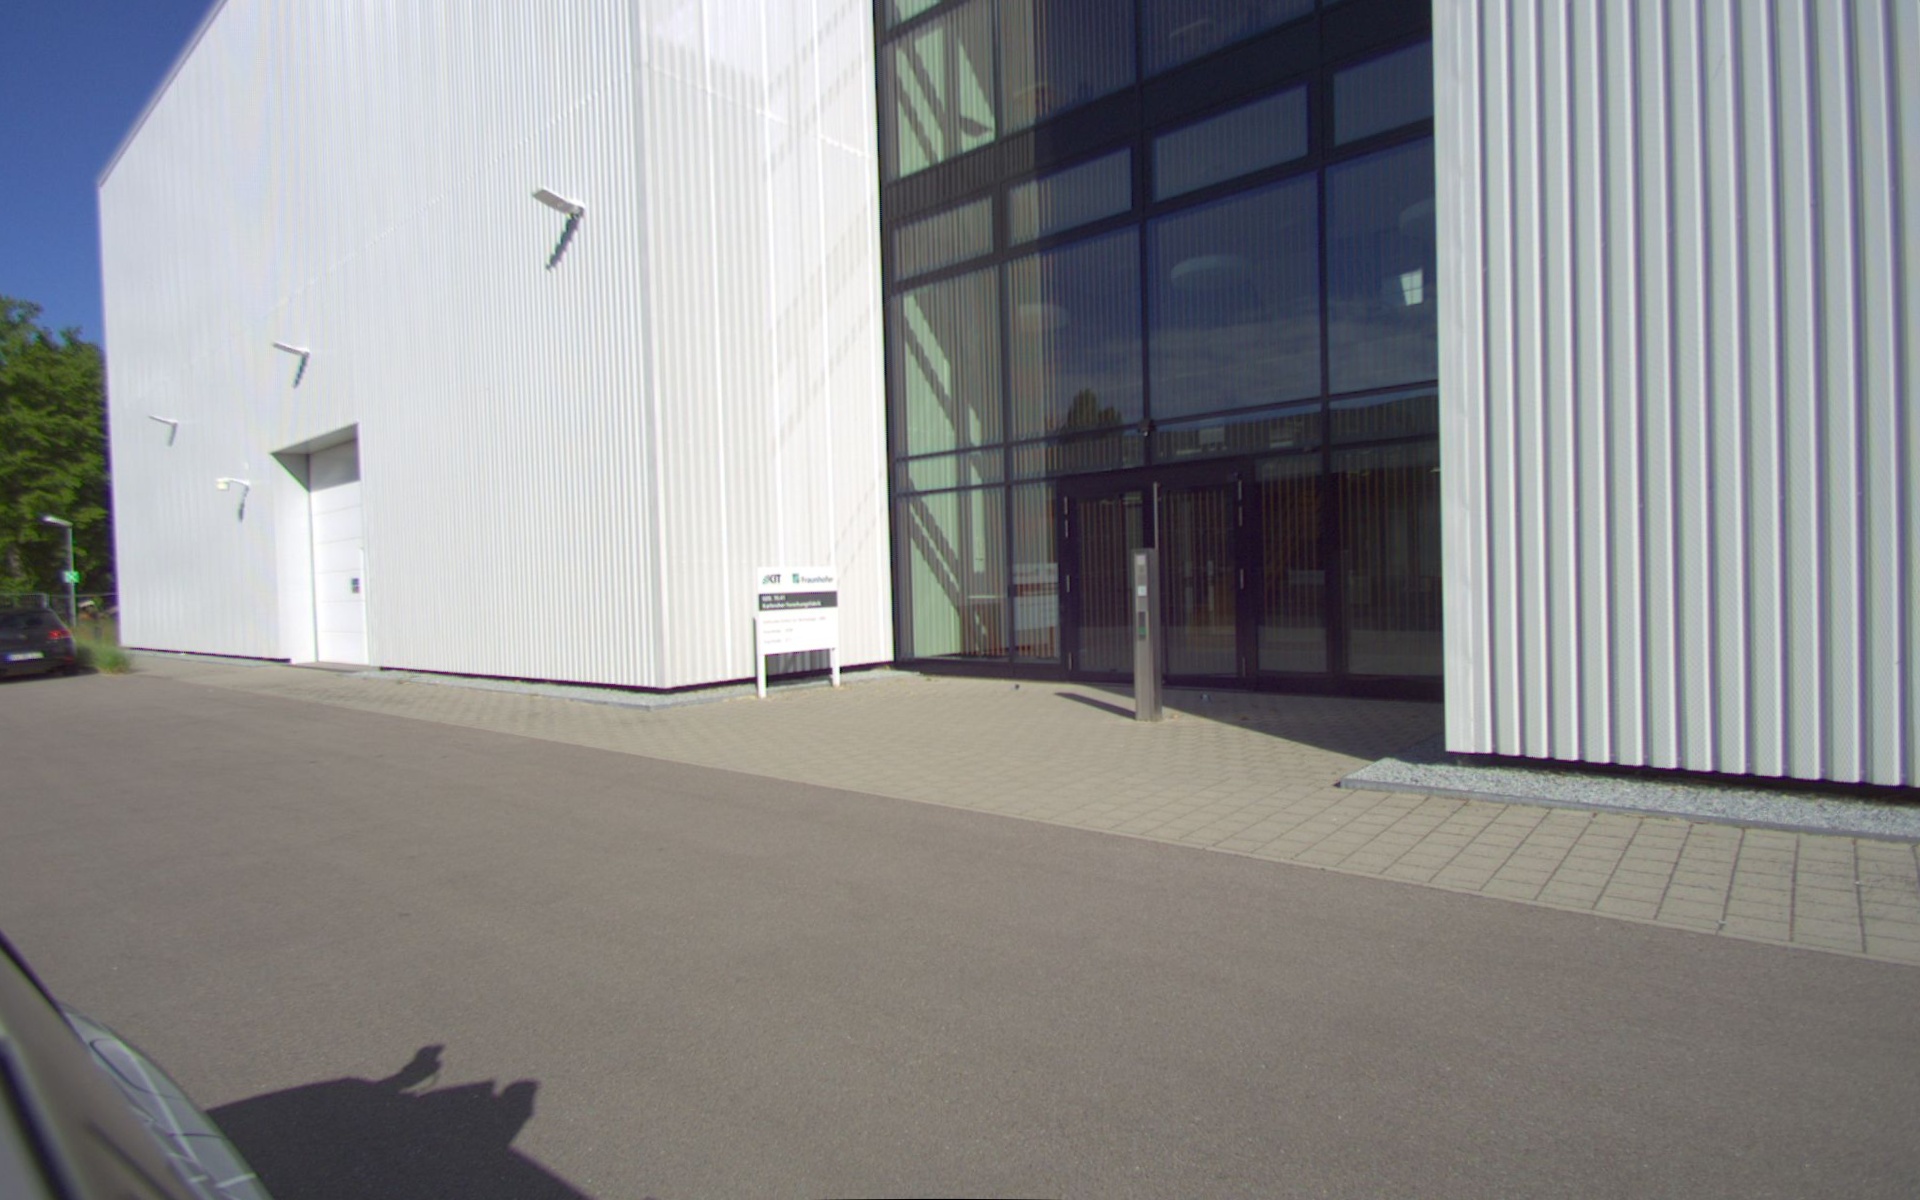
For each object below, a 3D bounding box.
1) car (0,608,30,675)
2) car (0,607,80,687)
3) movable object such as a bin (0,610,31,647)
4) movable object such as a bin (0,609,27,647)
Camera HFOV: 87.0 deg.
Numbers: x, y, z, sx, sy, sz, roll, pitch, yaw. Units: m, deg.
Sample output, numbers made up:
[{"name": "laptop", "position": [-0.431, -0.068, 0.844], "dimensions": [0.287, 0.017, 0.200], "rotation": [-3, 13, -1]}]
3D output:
[{"name": "car", "position": [-23.518, 1.036, 24.049], "dimensions": [3.519, 1.499, 1.533], "rotation": [-2, 2, 39]}, {"name": "car", "position": [-19.859, 0.974, 21.033], "dimensions": [4.313, 1.456, 1.738], "rotation": [-2, 2, 41]}, {"name": "movable object such as a bin", "position": [-37.707, 1.118, 40.163], "dimensions": [1.288, 1.445, 1.126], "rotation": [-1, -1, 42]}, {"name": "movable object such as a bin", "position": [-38.722, 1.144, 41.073], "dimensions": [1.279, 1.489, 1.126], "rotation": [-3, -2, 42]}]
